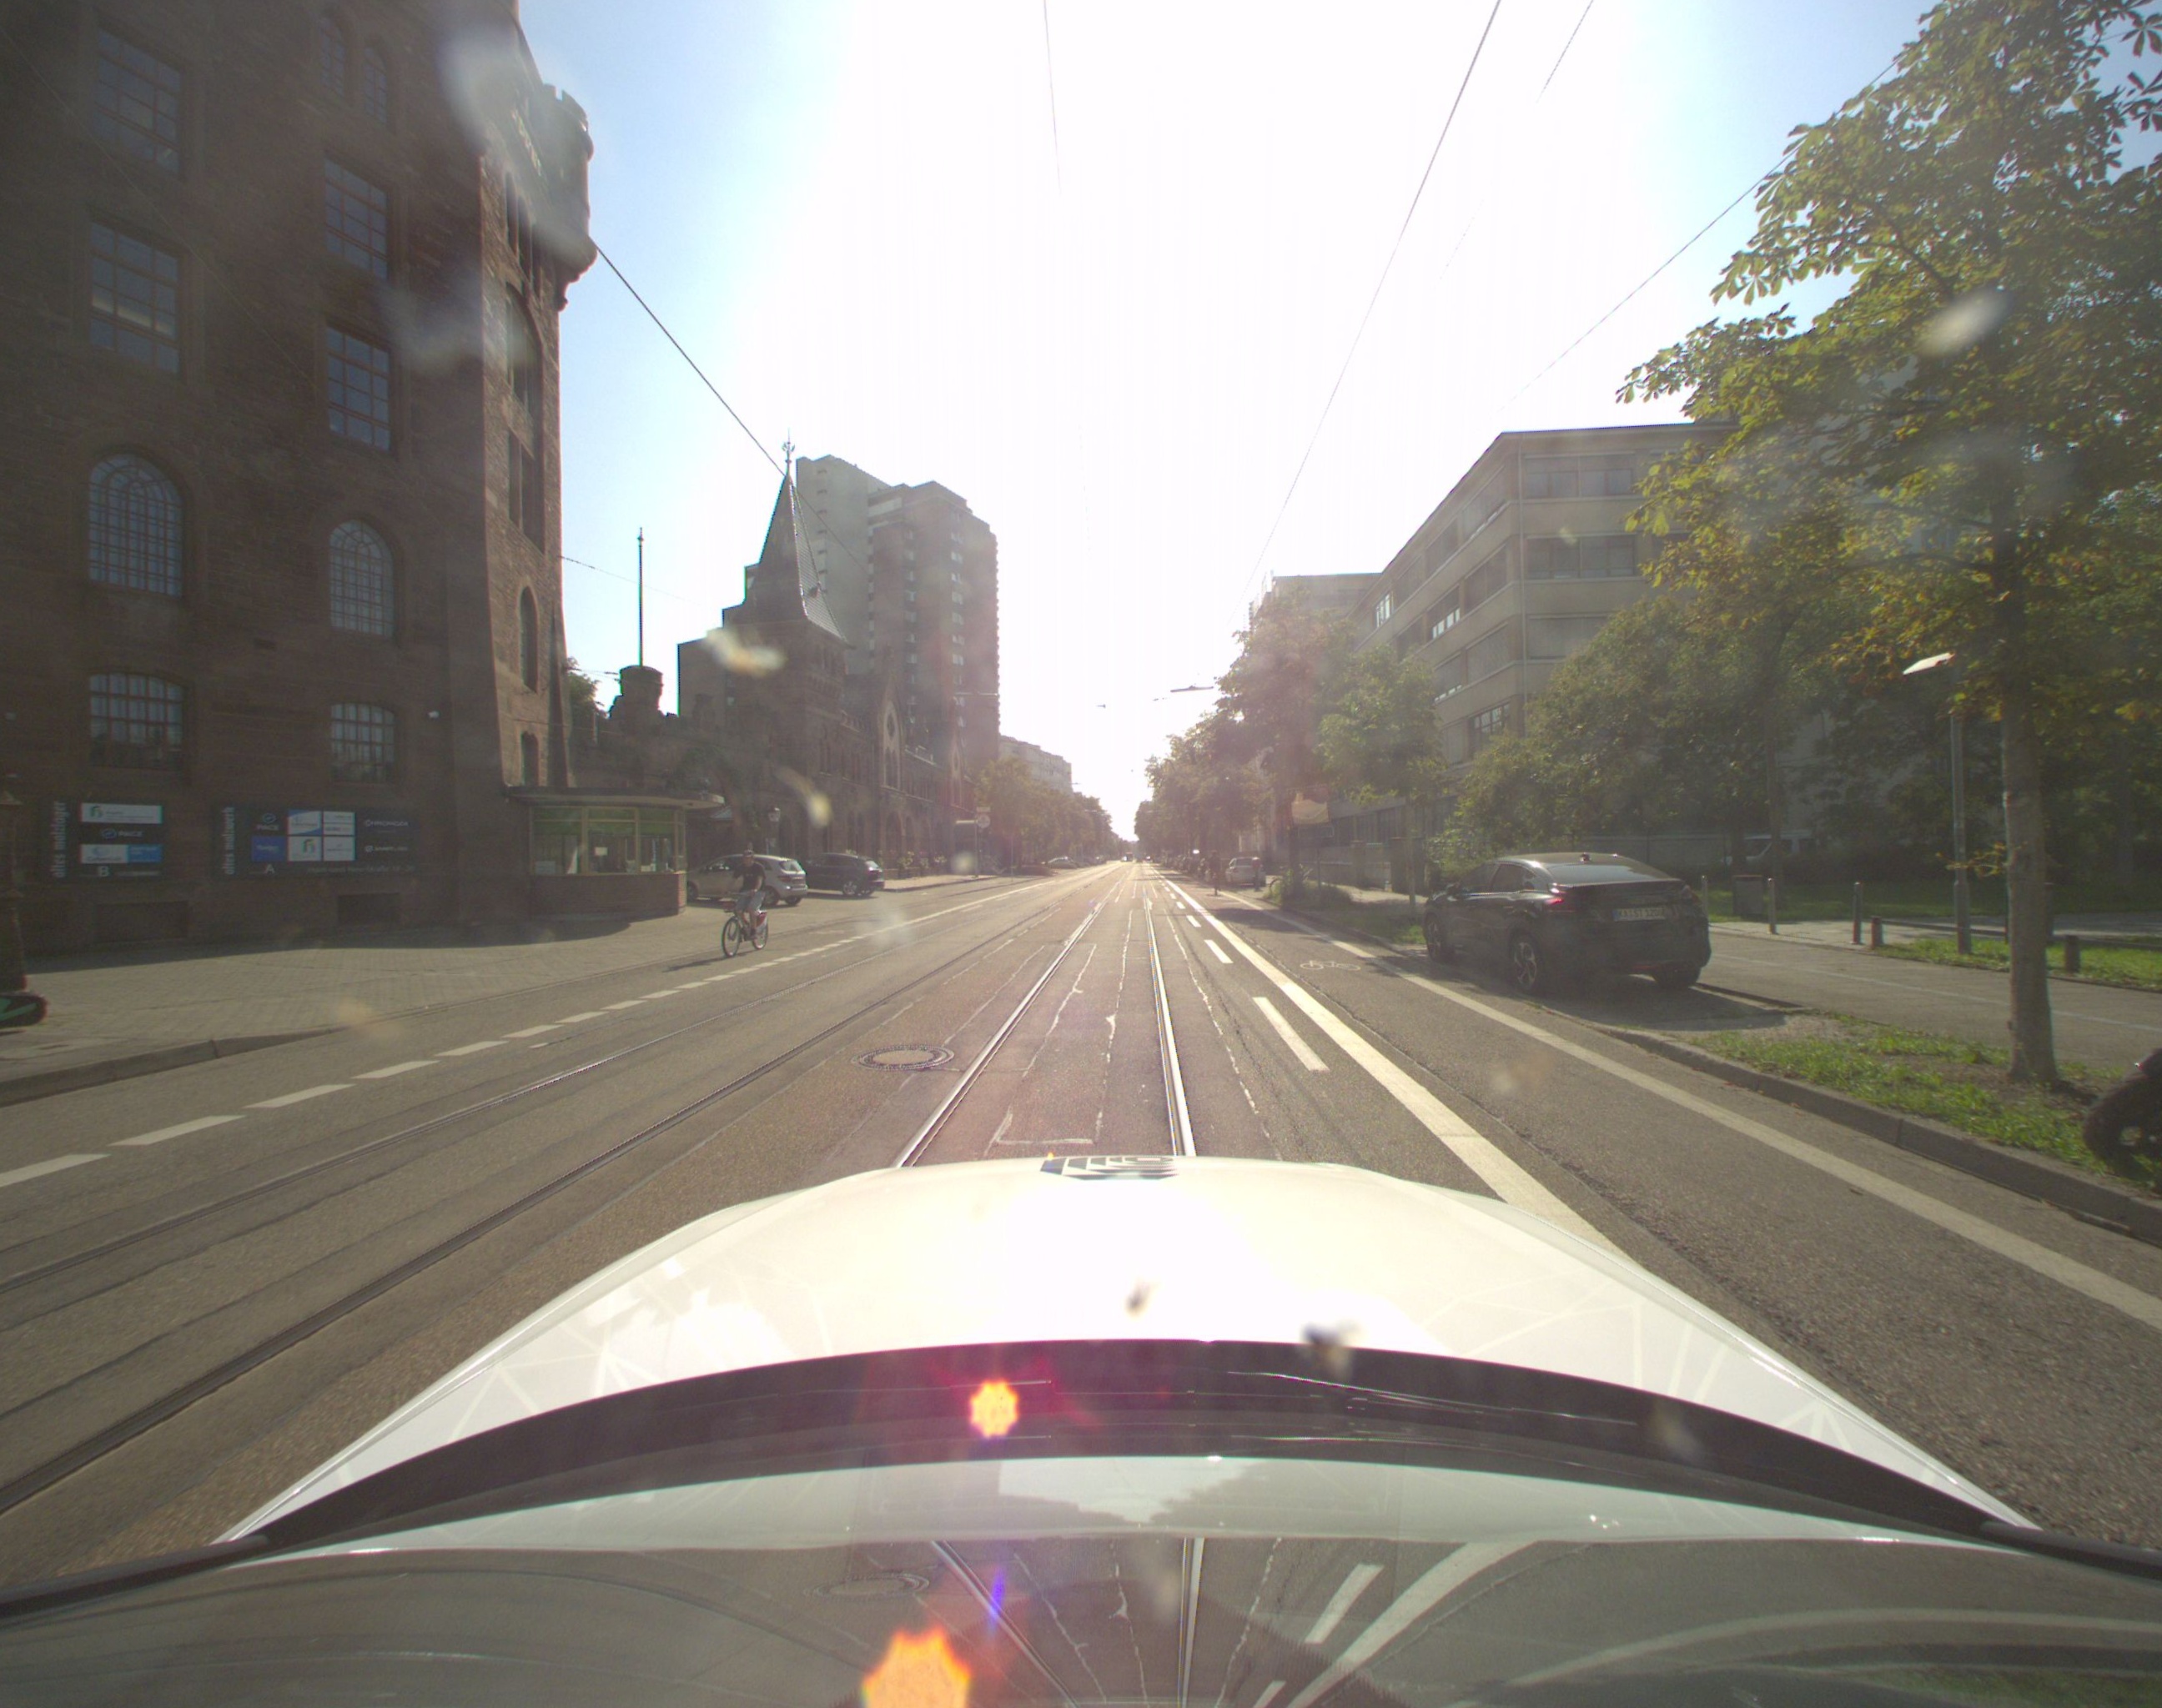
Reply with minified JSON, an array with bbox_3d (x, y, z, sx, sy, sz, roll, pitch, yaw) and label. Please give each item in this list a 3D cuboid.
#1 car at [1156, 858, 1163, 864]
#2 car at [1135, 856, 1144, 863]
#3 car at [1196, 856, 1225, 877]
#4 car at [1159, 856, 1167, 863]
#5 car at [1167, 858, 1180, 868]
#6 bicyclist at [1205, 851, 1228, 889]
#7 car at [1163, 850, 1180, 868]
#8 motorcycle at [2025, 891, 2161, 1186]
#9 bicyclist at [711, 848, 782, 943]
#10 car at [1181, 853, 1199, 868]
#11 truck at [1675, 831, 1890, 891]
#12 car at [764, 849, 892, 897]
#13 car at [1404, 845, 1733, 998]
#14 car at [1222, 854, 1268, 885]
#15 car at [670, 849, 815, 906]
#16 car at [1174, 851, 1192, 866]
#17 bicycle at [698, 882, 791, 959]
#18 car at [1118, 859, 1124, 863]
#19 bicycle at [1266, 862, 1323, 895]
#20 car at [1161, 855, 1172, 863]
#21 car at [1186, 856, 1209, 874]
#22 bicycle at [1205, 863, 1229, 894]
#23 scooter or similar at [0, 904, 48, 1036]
[{"bbox_3d":[18.473,1.562,191.609,1.587,1.418,3.639,-1,-1,5],"label":"car"},{"bbox_3d":[14.671,1.324,204.742,1.984,1.838,4.006,-1,-1,5],"label":"car"},{"bbox_3d":[9.475,0.894,59.711,1.639,1.428,4.088,-2,0,3],"label":"car"},{"bbox_3d":[17.962,1.236,177.848,1.681,1.418,3.639,-1,-1,5],"label":"car"},{"bbox_3d":[13.041,1.288,115.288,1.609,1.374,4.833,-2,-1,5],"label":"car"},{"bbox_3d":[5.347,0.612,32.217,0.783,1.470,1.118,-1,-1,6],"label":"bicyclist"},{"bbox_3d":[13.908,0.713,125.287,2.074,2.552,5.505,-4,-1,3],"label":"car"},{"bbox_3d":[5.467,0.782,3.338,1.964,1.225,0.650,-1,-1,29],"label":"motorcycle"},{"bbox_3d":[-5.907,0.713,14.435,0.694,1.580,1.088,-3,-1,2],"label":"bicyclist"},{"bbox_3d":[11.218,0.645,84.109,1.568,1.485,3.743,-3,0,5],"label":"car"},{"bbox_3d":[27.979,0.285,32.678,6.536,2.215,2.123,-1,-1,4],"label":"truck"},{"bbox_3d":[-10.003,0.723,32.439,4.381,1.645,1.957,3,0,1],"label":"car"},{"bbox_3d":[5.847,0.680,10.529,1.733,1.486,4.440,-2,0,3],"label":"car"},{"bbox_3d":[8.191,0.775,41.051,1.633,1.430,3.991,-2,-1,2],"label":"car"},{"bbox_3d":[-11.008,0.733,26.625,3.879,1.596,1.826,3,0,6],"label":"car"},{"bbox_3d":[11.774,0.514,93.960,1.746,1.691,4.399,0,0,2],"label":"car"},{"bbox_3d":[-5.878,1.126,14.361,0.694,1.158,2.039,-3,-1,2],"label":"bicycle"},{"bbox_3d":[12.161,2.093,247.785,1.820,1.376,4.516,-1,0,3],"label":"car"},{"bbox_3d":[7.494,0.854,28.622,1.762,1.064,0.796,-3,-1,2],"label":"bicycle"},{"bbox_3d":[15.246,0.867,144.568,1.745,1.377,4.724,-3,-1,4],"label":"car"},{"bbox_3d":[10.145,0.961,71.138,1.638,1.511,3.783,-3,-1,4],"label":"car"},{"bbox_3d":[5.346,0.952,32.208,0.783,1.144,2.308,-1,-1,6],"label":"bicycle"},{"bbox_3d":[-9.803,1.021,7.140,0.820,1.148,0.281,3,-2,-33],"label":"scooter or similar"}]
